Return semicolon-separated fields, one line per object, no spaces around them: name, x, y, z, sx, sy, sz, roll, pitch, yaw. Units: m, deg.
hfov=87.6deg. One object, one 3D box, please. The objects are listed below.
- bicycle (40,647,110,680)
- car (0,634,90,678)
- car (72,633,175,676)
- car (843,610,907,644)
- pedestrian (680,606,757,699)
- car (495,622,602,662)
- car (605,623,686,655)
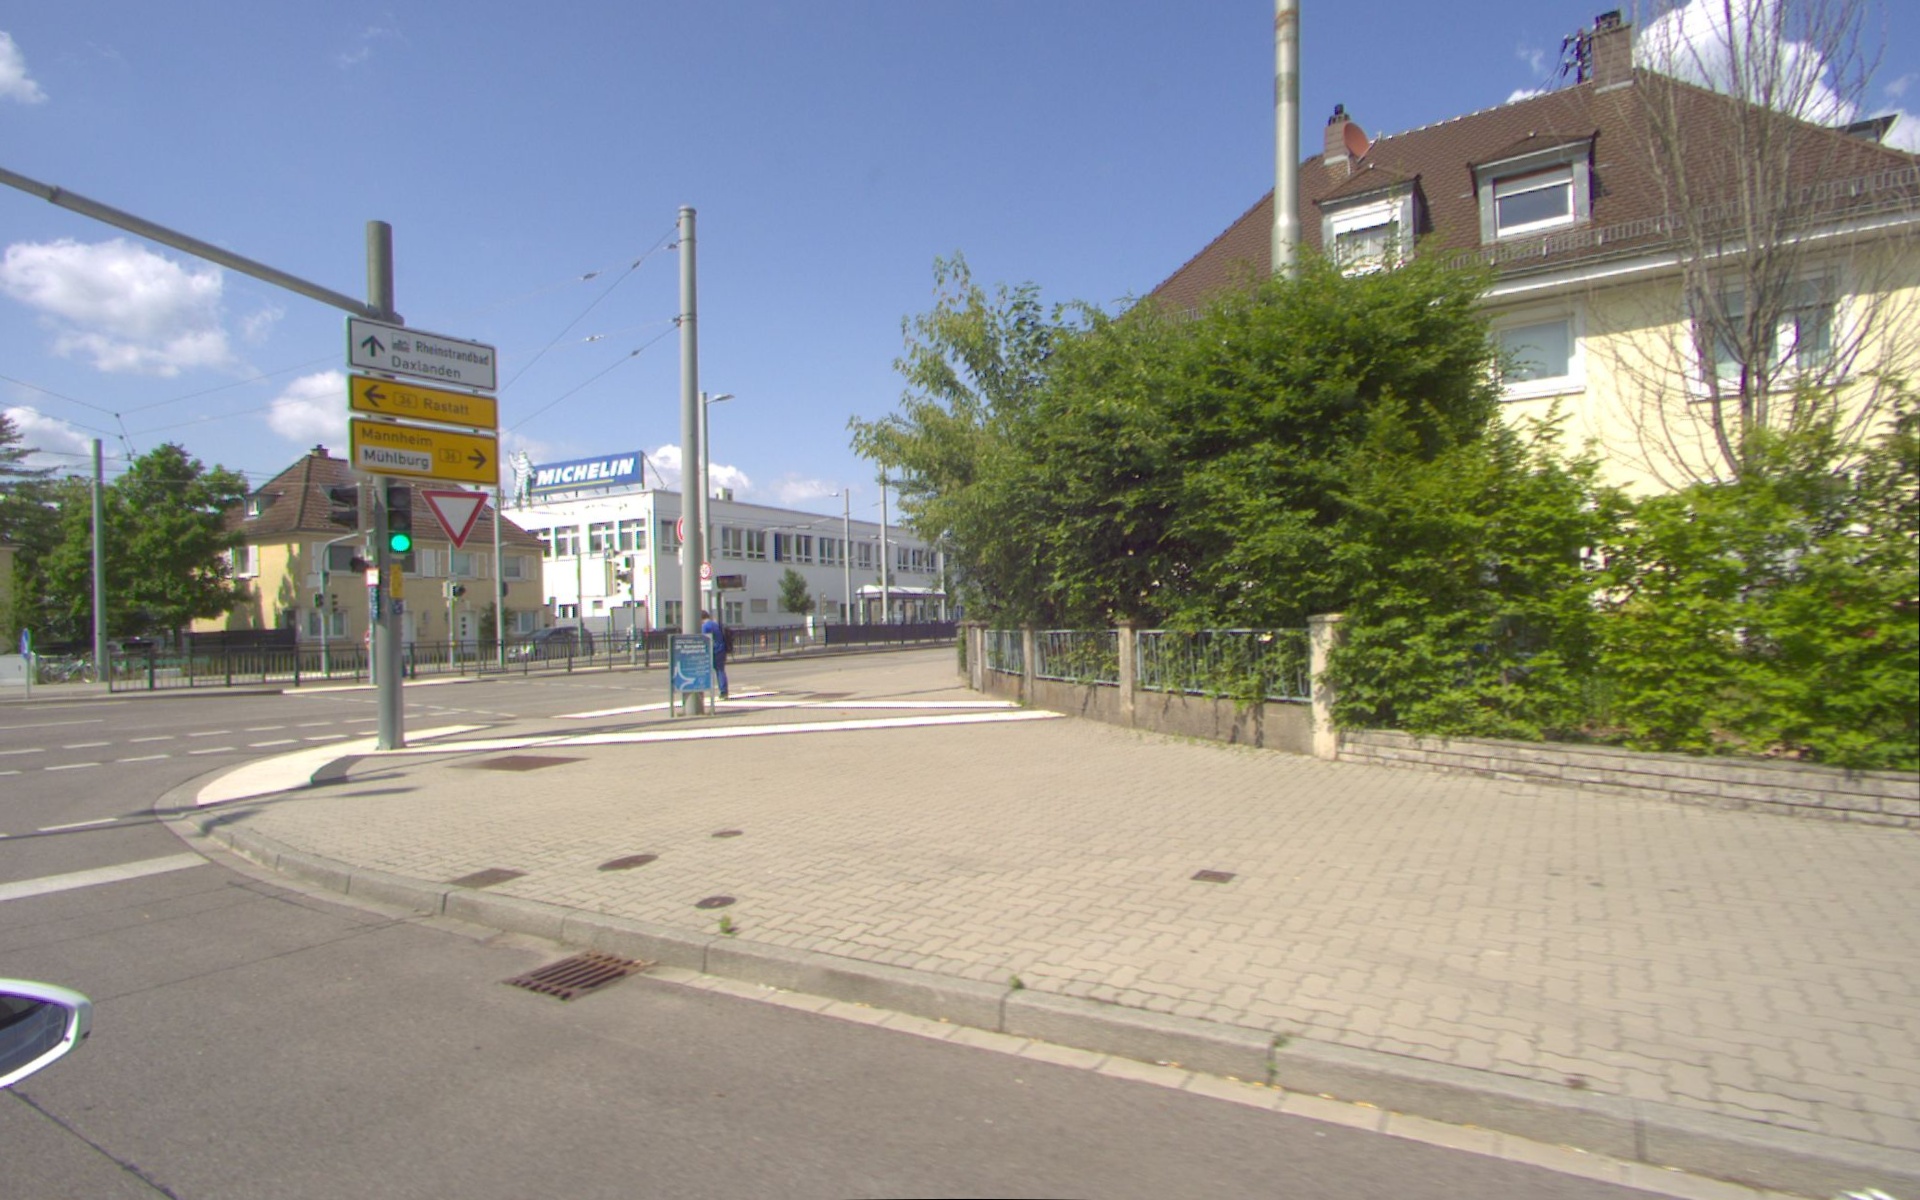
bicycle;-32.542;2.332;36.849;1.777;1.119;0.701;-1;-1;-19
car;-38.110;2.337;41.288;3.934;1.641;1.823;-3;-2;23
car;-36.327;2.354;43.485;3.934;1.641;1.823;-3;-2;23
car;-5.606;1.766;66.465;1.788;2.187;4.825;-2;-1;30
pedestrian;-4.703;1.002;19.536;1.025;1.757;1.028;-1;0;28
car;-17.719;1.793;43.279;1.815;1.588;3.982;-2;-1;30
car;-15.251;1.880;48.750;1.553;1.465;3.705;-2;-1;30
